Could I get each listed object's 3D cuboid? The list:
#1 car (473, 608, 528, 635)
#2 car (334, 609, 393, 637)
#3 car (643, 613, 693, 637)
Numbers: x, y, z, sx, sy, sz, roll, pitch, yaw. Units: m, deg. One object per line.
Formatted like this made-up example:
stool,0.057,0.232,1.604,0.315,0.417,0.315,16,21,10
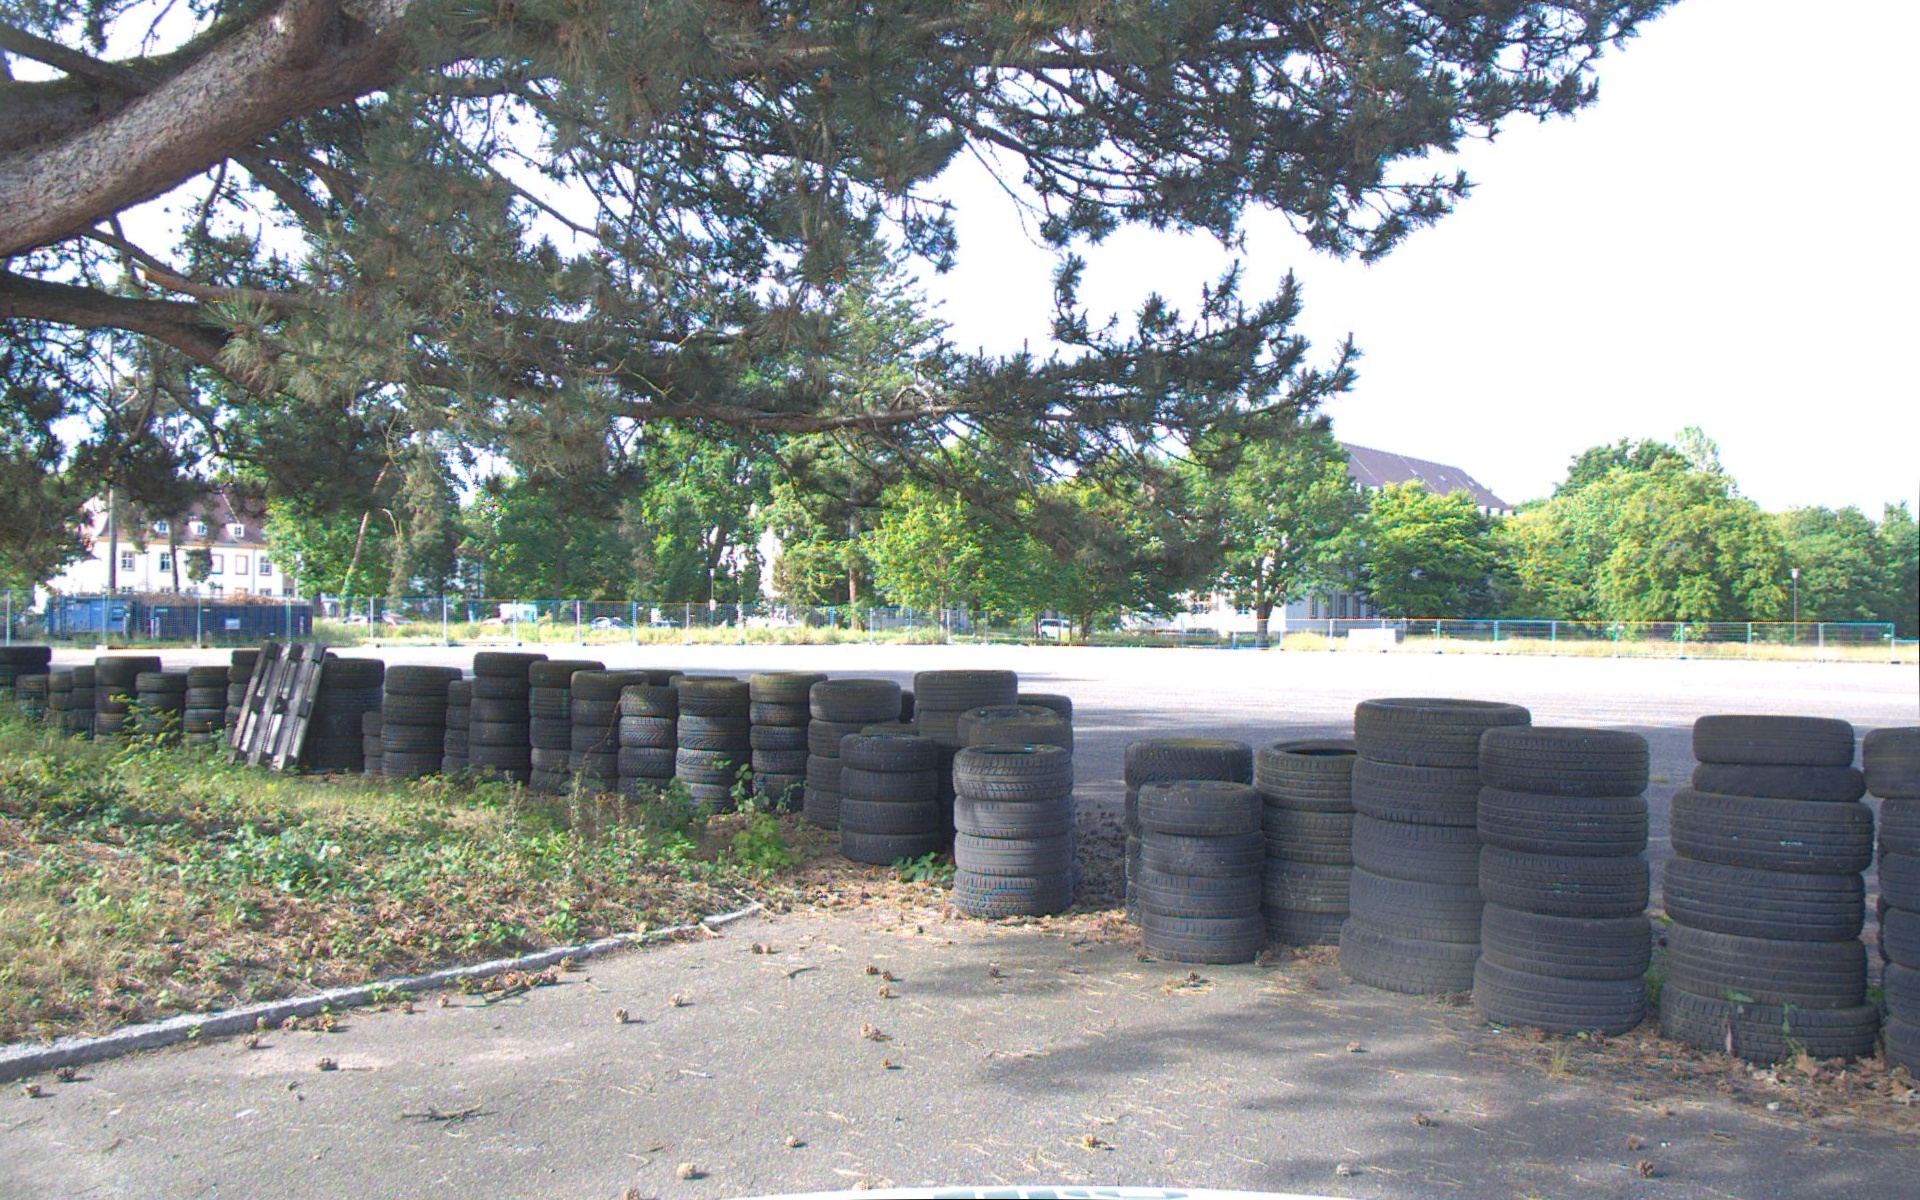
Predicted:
car,-31.421,1.471,113.031,3.933,1.780,1.986,0,-1,45
car,-37.880,1.450,105.075,3.931,1.780,1.987,0,-1,44
car,-22.080,1.879,124.974,1.983,1.780,3.939,1,-1,-41
